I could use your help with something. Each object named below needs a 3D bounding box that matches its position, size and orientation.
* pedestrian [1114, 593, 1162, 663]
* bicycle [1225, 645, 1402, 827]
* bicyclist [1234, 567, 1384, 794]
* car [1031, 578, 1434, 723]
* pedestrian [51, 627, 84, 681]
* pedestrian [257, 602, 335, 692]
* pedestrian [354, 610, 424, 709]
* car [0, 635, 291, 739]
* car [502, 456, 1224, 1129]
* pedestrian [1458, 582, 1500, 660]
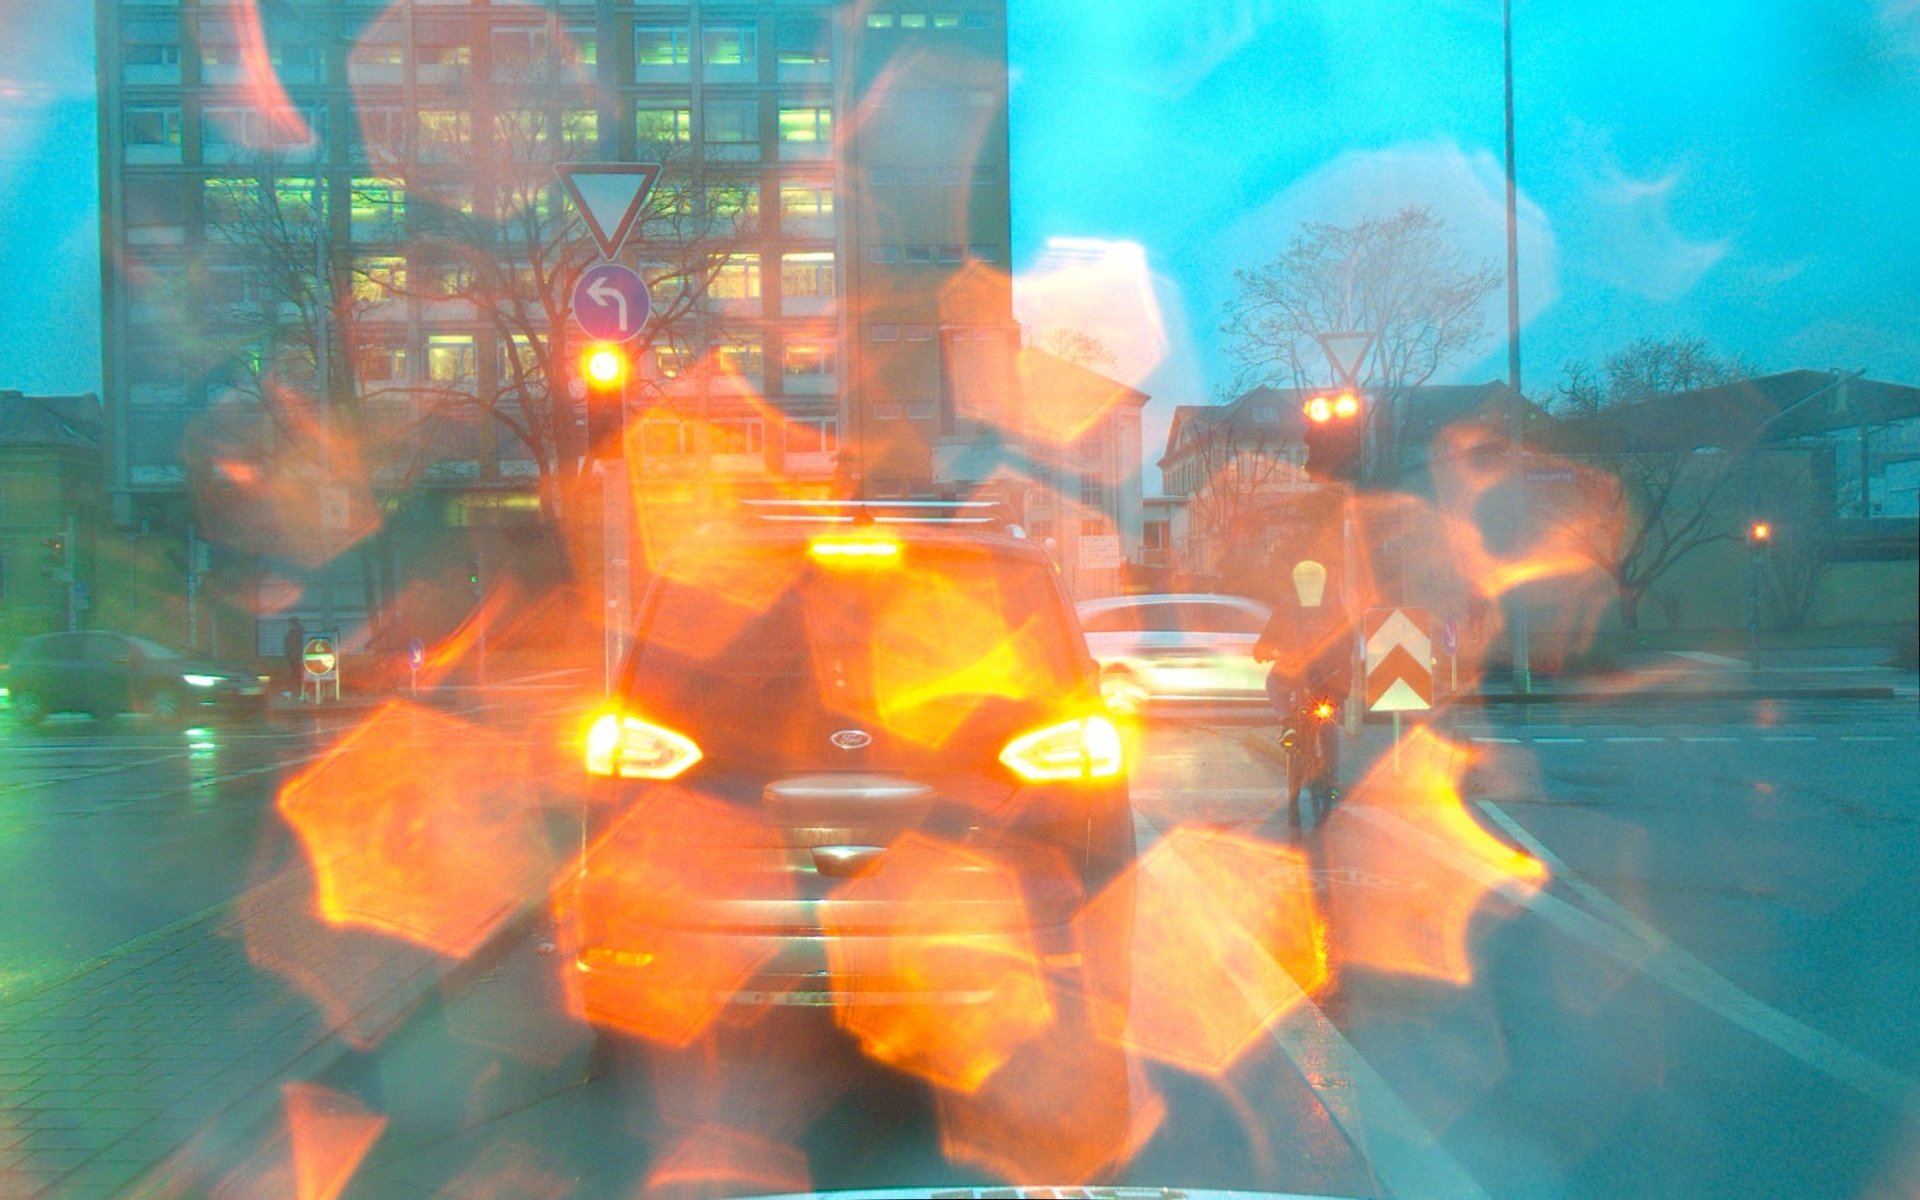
[{"bbox_3d":[4.643,0.722,43.050,1.111,1.750,0.982,-2,0,10],"label":"pedestrian"},{"bbox_3d":[2.387,0.883,11.404,0.767,1.094,1.956,1,0,-1],"label":"bicycle"},{"bbox_3d":[2.387,0.530,11.443,0.767,1.478,1.133,1,0,-1],"label":"bicyclist"},{"bbox_3d":[3.285,0.608,20.183,4.583,1.579,1.940,-2,-1,10],"label":"car"},{"bbox_3d":[-28.931,1.754,53.603,0.625,1.718,0.637,-2,0,16],"label":"pedestrian"},{"bbox_3d":[-14.621,1.038,36.458,0.981,1.874,1.139,-2,2,22],"label":"pedestrian"},{"bbox_3d":[-11.886,1.230,34.448,0.908,2.013,0.960,-2,0,21],"label":"pedestrian"},{"bbox_3d":[-13.175,1.371,26.302,4.480,1.503,1.812,-2,-1,15],"label":"car"},{"bbox_3d":[-0.289,0.539,6.546,1.953,1.821,3.999,1,0,-1],"label":"car"},{"bbox_3d":[14.543,0.582,46.342,0.864,2.150,0.896,-2,0,3],"label":"pedestrian"}]
